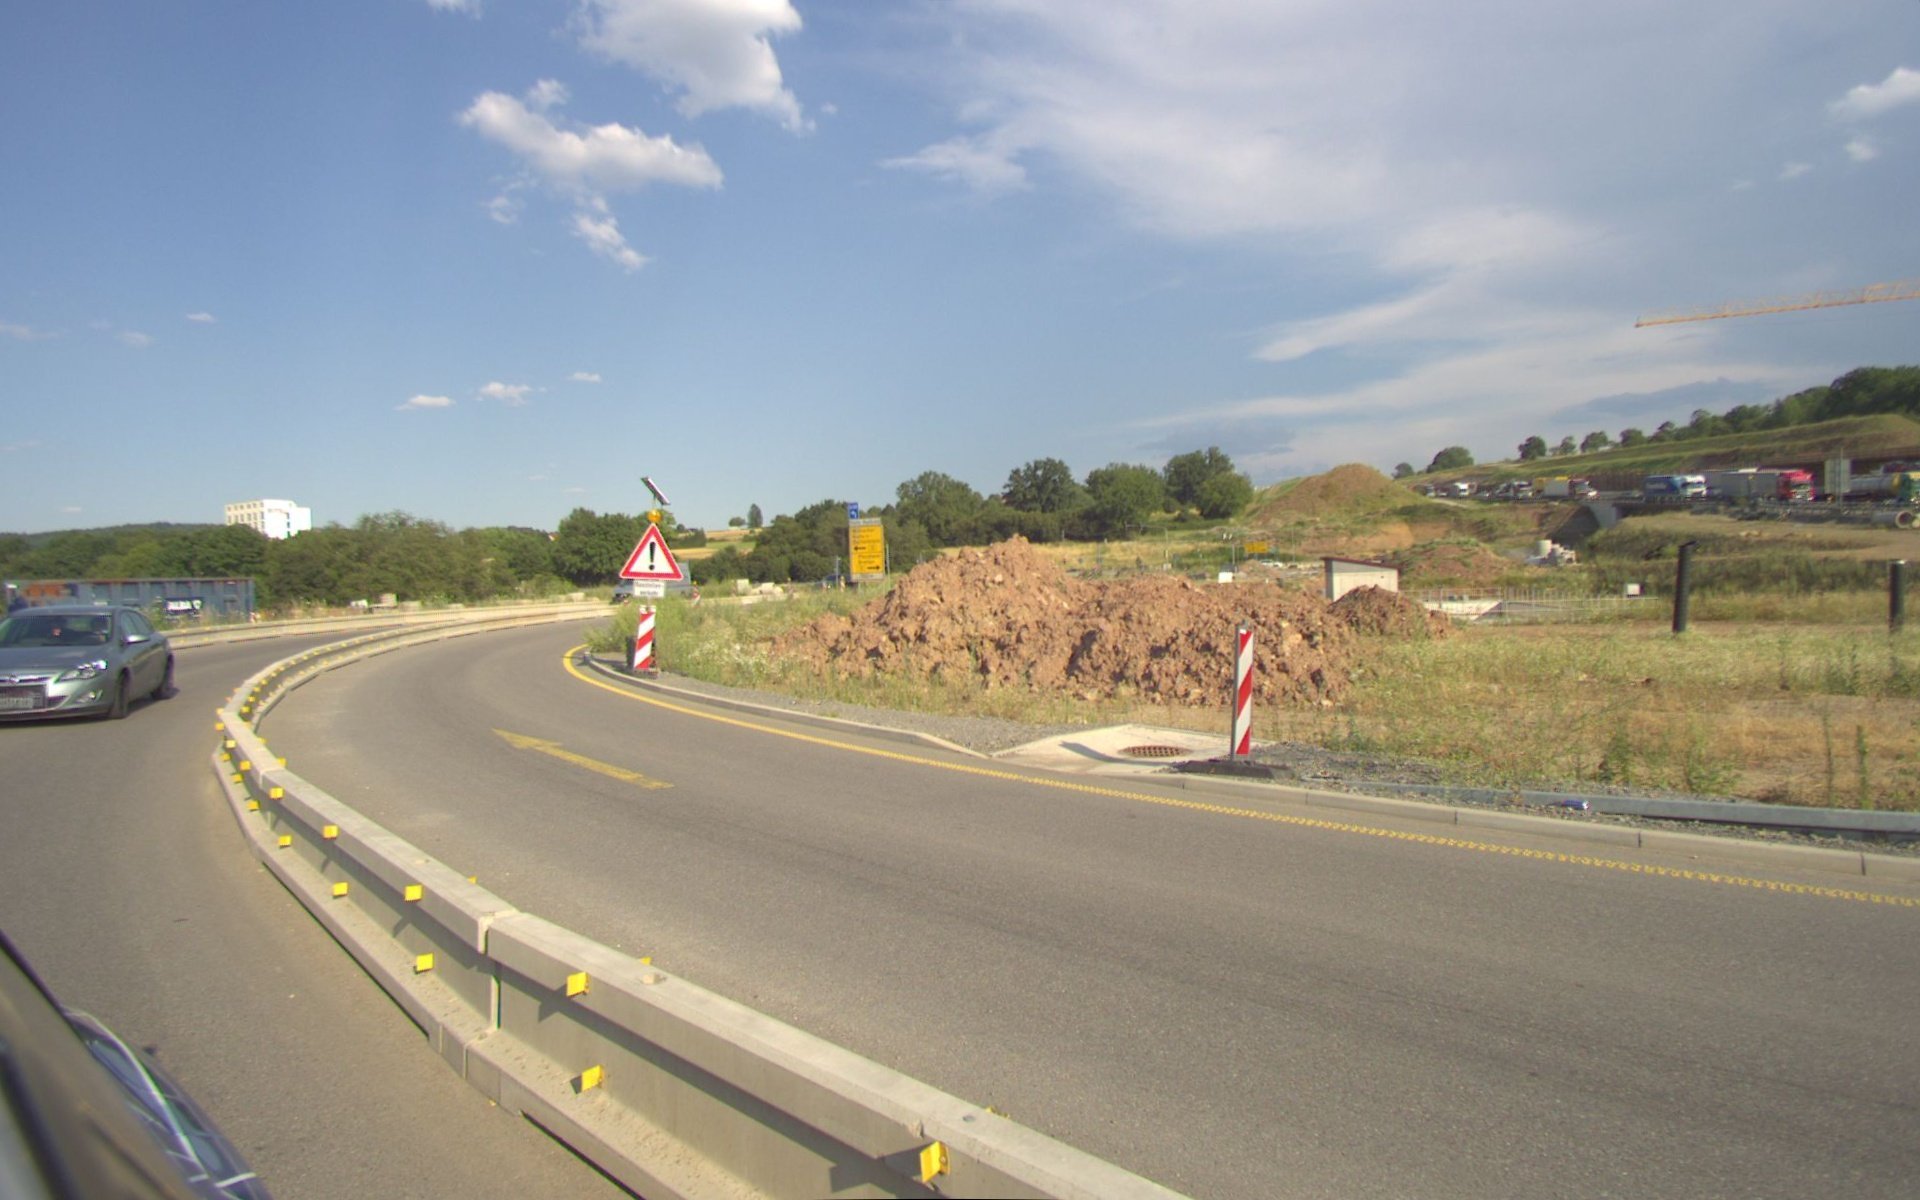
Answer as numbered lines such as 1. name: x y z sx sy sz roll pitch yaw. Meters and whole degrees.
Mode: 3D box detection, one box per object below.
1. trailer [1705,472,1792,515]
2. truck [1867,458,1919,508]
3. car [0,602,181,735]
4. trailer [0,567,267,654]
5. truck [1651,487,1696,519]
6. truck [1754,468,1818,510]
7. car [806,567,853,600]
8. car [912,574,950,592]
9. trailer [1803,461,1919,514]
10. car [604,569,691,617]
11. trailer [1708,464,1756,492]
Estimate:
1. trailer: 100.121 -13.429 128.869 3.083 4.346 14.191 -1 2 14
2. truck: 92.662 -11.401 98.830 3.084 4.346 6.867 -1 2 14
3. car: -12.176 0.820 13.766 1.718 1.495 4.265 -2 1 -27
4. trailer: -26.893 0.228 33.136 2.975 2.432 7.220 -2 1 4
5. truck: 104.071 -14.089 147.806 2.500 4.030 8.512 -1 2 15
6. truck: 97.968 -13.120 120.165 3.084 4.346 6.867 -1 2 14
7. car: -10.029 -1.265 78.124 1.865 2.421 3.970 -1 2 23
8. car: -2.395 -1.458 85.524 1.703 1.530 4.485 0 2 20
9. trailer: 94.600 -11.684 106.517 3.083 4.346 14.191 -1 2 14
10. car: -17.552 -0.457 57.210 1.900 2.519 5.771 -1 2 15
11. trailer: 127.799 -20.178 167.681 1.953 3.540 11.126 -1 2 14
